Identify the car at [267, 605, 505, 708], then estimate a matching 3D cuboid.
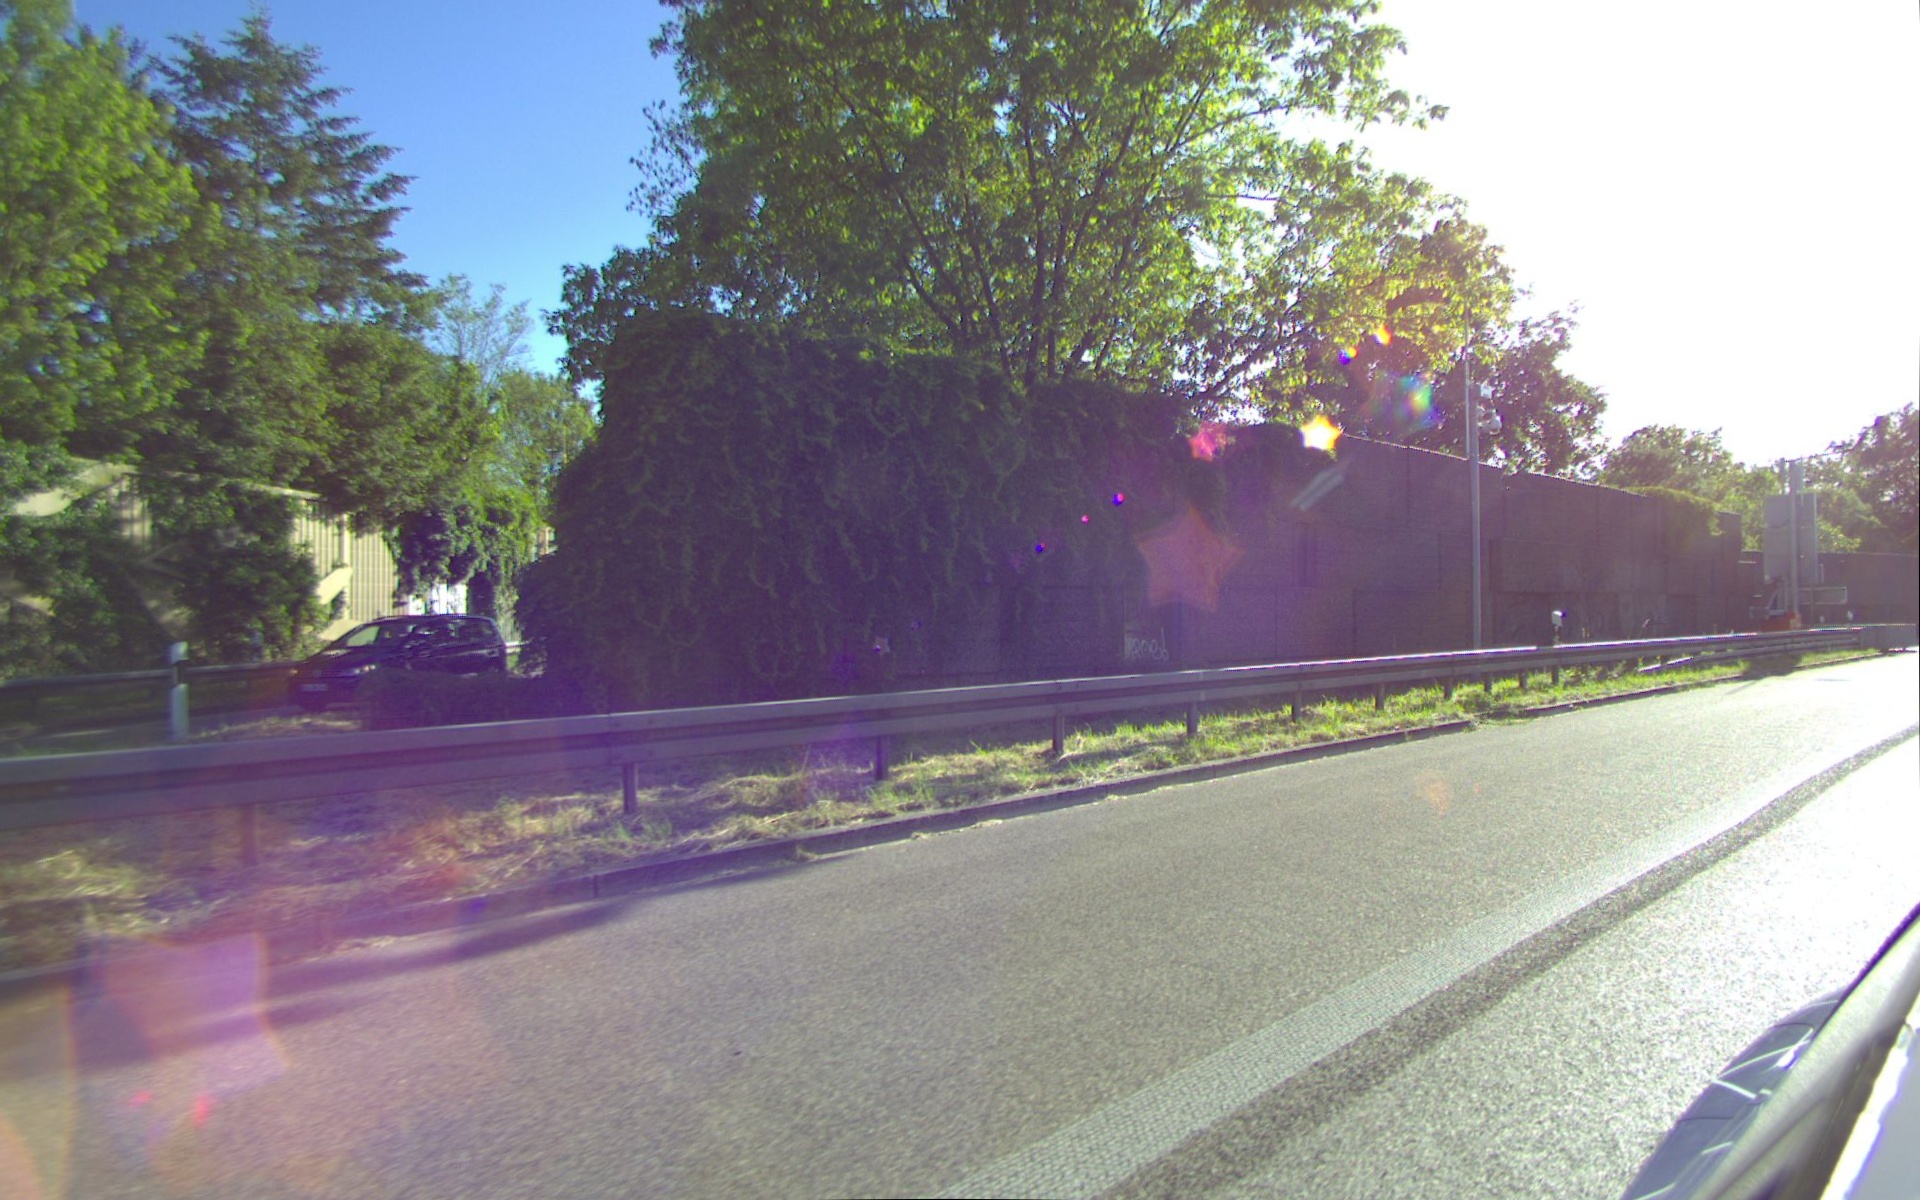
[{"bbox_3d":[-10.406,0.999,18.721,1.719,1.684,3.988,-1,-2,9],"label":"car"}]
